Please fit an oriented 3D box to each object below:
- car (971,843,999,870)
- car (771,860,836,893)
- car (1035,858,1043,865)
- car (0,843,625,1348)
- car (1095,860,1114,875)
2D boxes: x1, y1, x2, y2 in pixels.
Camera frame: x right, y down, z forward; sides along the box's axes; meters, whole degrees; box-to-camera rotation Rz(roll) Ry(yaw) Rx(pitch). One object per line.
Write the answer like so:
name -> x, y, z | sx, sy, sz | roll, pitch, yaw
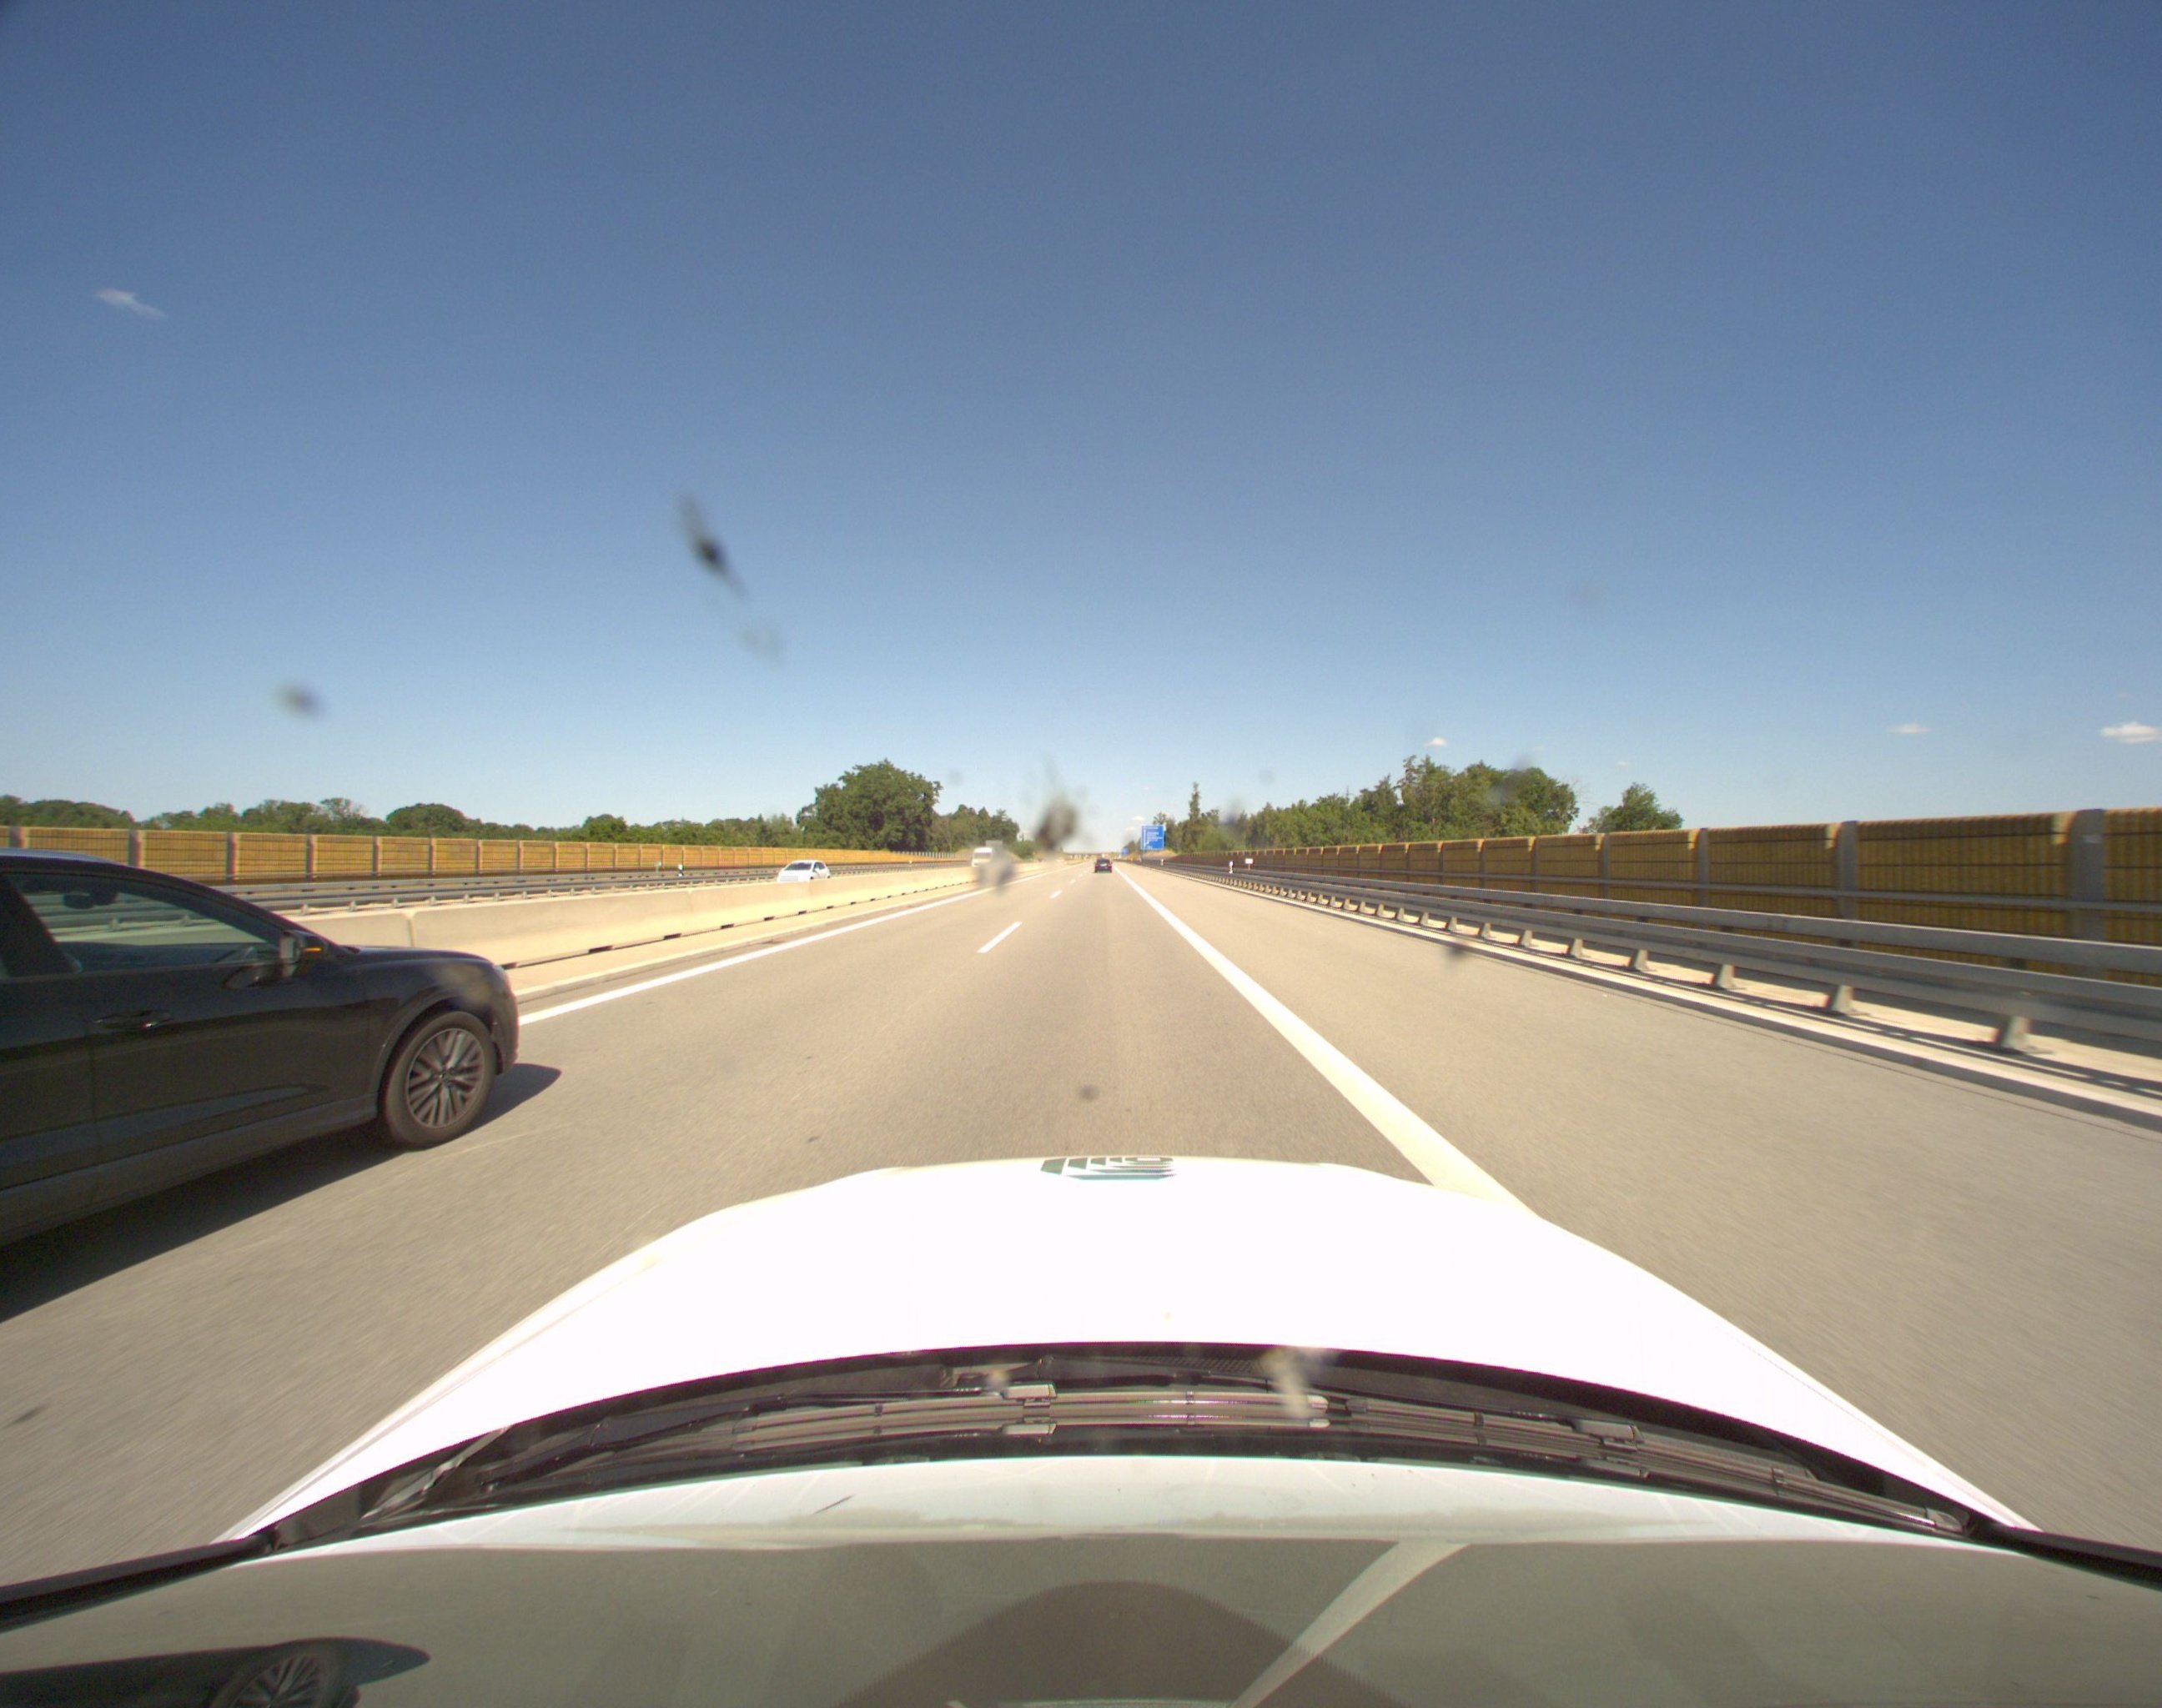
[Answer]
car -> -9.811, 0.295, 83.684 | 2.016, 2.670, 6.487 | -1, 0, 1
car -> -13.911, 1.088, 41.100 | 1.641, 1.508, 4.334 | -1, 0, 2
car -> -9.519, 1.662, 185.851 | 1.574, 1.458, 4.451 | -1, 0, 1
car -> -4.254, 0.774, 3.361 | 1.716, 1.588, 5.222 | -1, 0, 1
car -> 2.384, 1.342, 82.155 | 1.783, 1.374, 3.918 | -1, 0, 2
